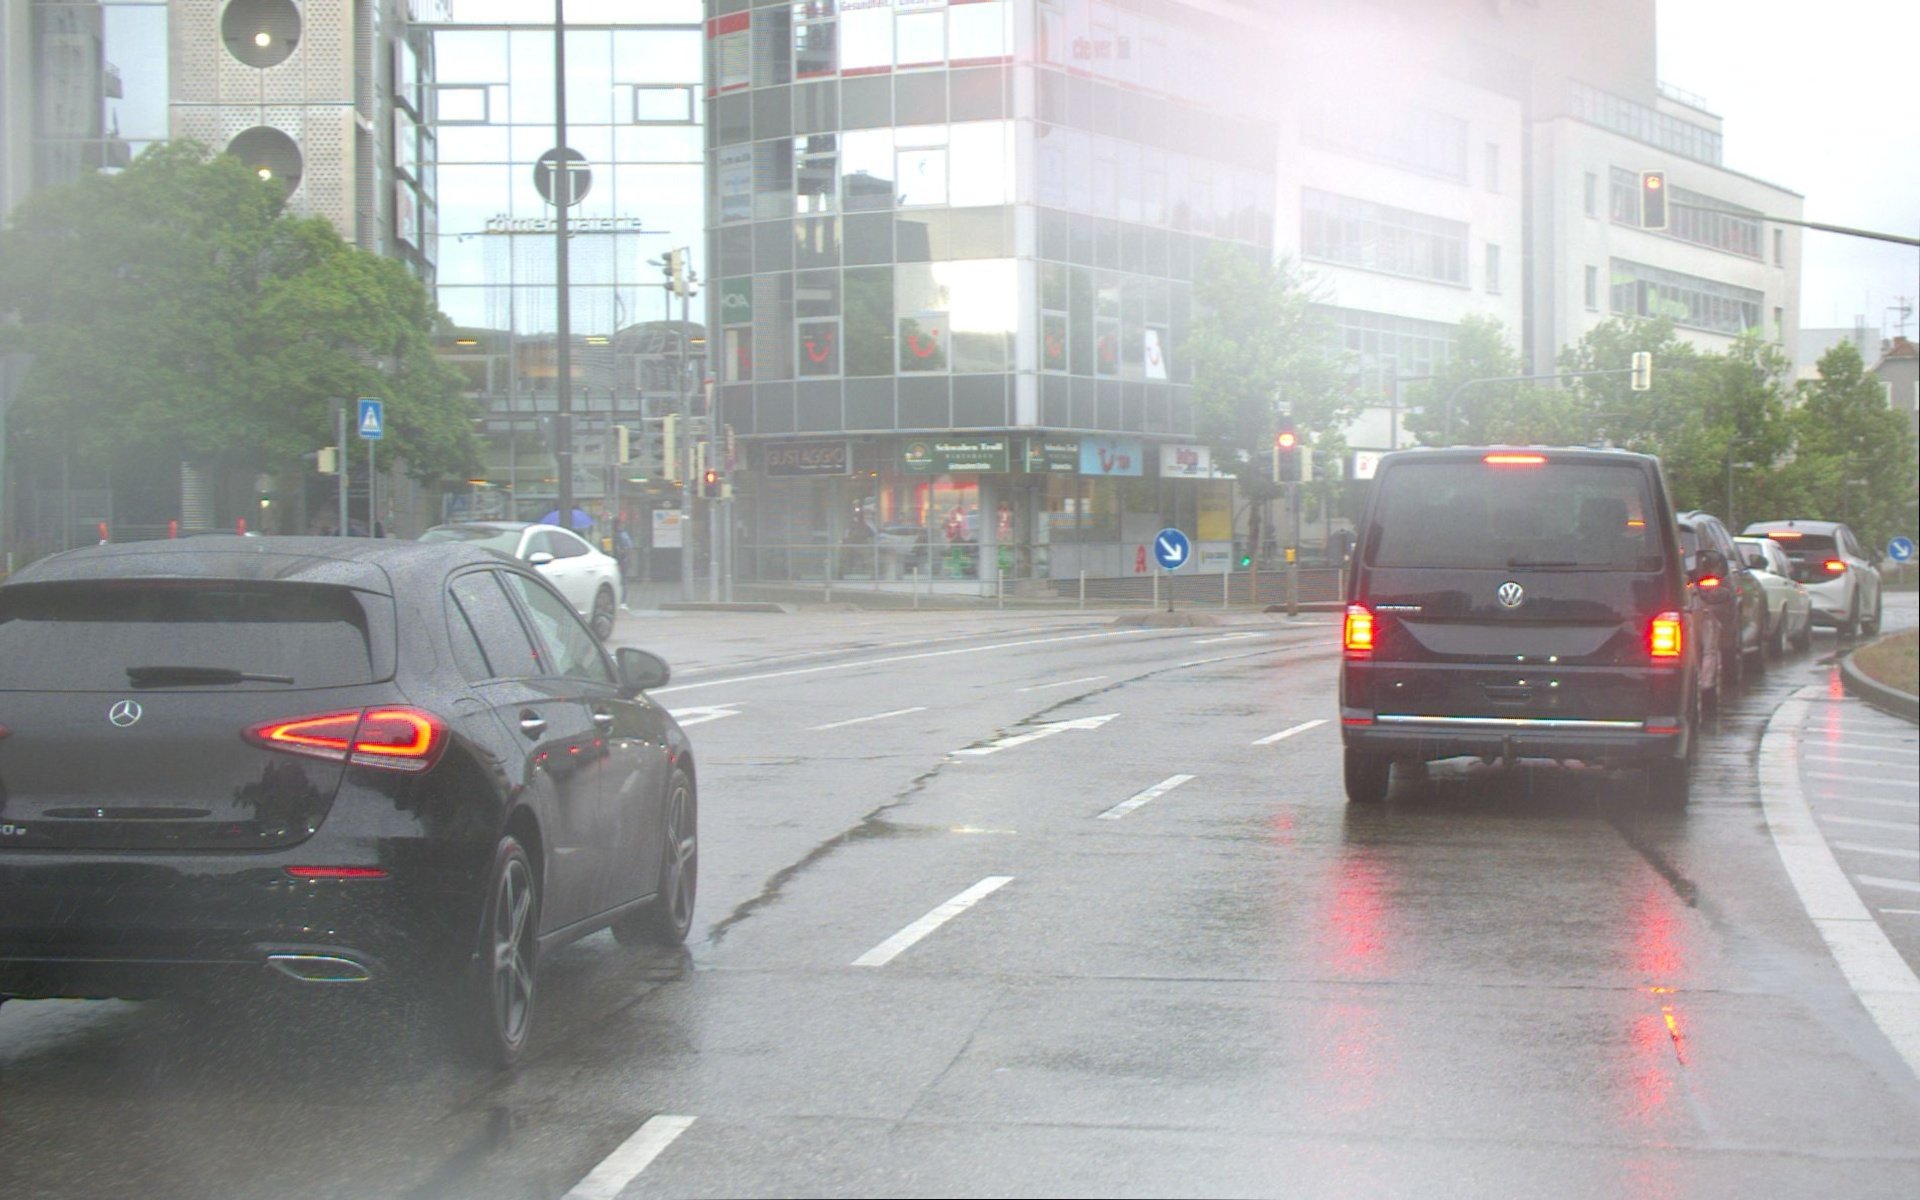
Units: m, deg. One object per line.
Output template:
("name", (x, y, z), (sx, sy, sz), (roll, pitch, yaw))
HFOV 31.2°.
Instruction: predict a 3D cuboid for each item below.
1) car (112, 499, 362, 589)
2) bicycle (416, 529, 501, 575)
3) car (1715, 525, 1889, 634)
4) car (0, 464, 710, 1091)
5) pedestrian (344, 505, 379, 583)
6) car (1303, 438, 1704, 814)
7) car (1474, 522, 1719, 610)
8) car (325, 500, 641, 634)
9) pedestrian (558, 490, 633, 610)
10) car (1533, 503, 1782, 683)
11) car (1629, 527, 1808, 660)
("car", (-13.376, -1.044, 63.728), (4.192, 1.590, 1.870), (1, 1, 2))
("bicycle", (-13.802, -1.319, 94.728), (2.273, 1.242, 0.677), (0, 1, -5))
("car", (11.308, -0.305, 46.045), (1.913, 1.395, 3.454), (0, 1, 20))
("car", (-1.953, 0.403, 10.538), (1.816, 1.524, 3.812), (2, 1, 4))
("pedestrian", (-15.516, -1.454, 89.176), (0.762, 2.007, 0.714), (0, 1, 1))
("car", (3.179, 0.097, 19.894), (1.996, 1.887, 4.585), (1, 1, 10))
("car", (12.735, -0.686, 68.758), (4.489, 1.676, 1.892), (0, 1, -23))
("car", (-5.518, -0.418, 40.436), (1.843, 1.455, 4.805), (1, 1, 17))
("pedestrian", (-6.177, -0.848, 58.190), (1.162, 2.007, 1.329), (0, 1, -10))
("car", (6.870, -0.115, 33.567), (1.903, 1.615, 4.332), (1, 1, 18))
("car", (8.913, -0.071, 40.178), (1.635, 1.443, 4.265), (2, 0, 18))
